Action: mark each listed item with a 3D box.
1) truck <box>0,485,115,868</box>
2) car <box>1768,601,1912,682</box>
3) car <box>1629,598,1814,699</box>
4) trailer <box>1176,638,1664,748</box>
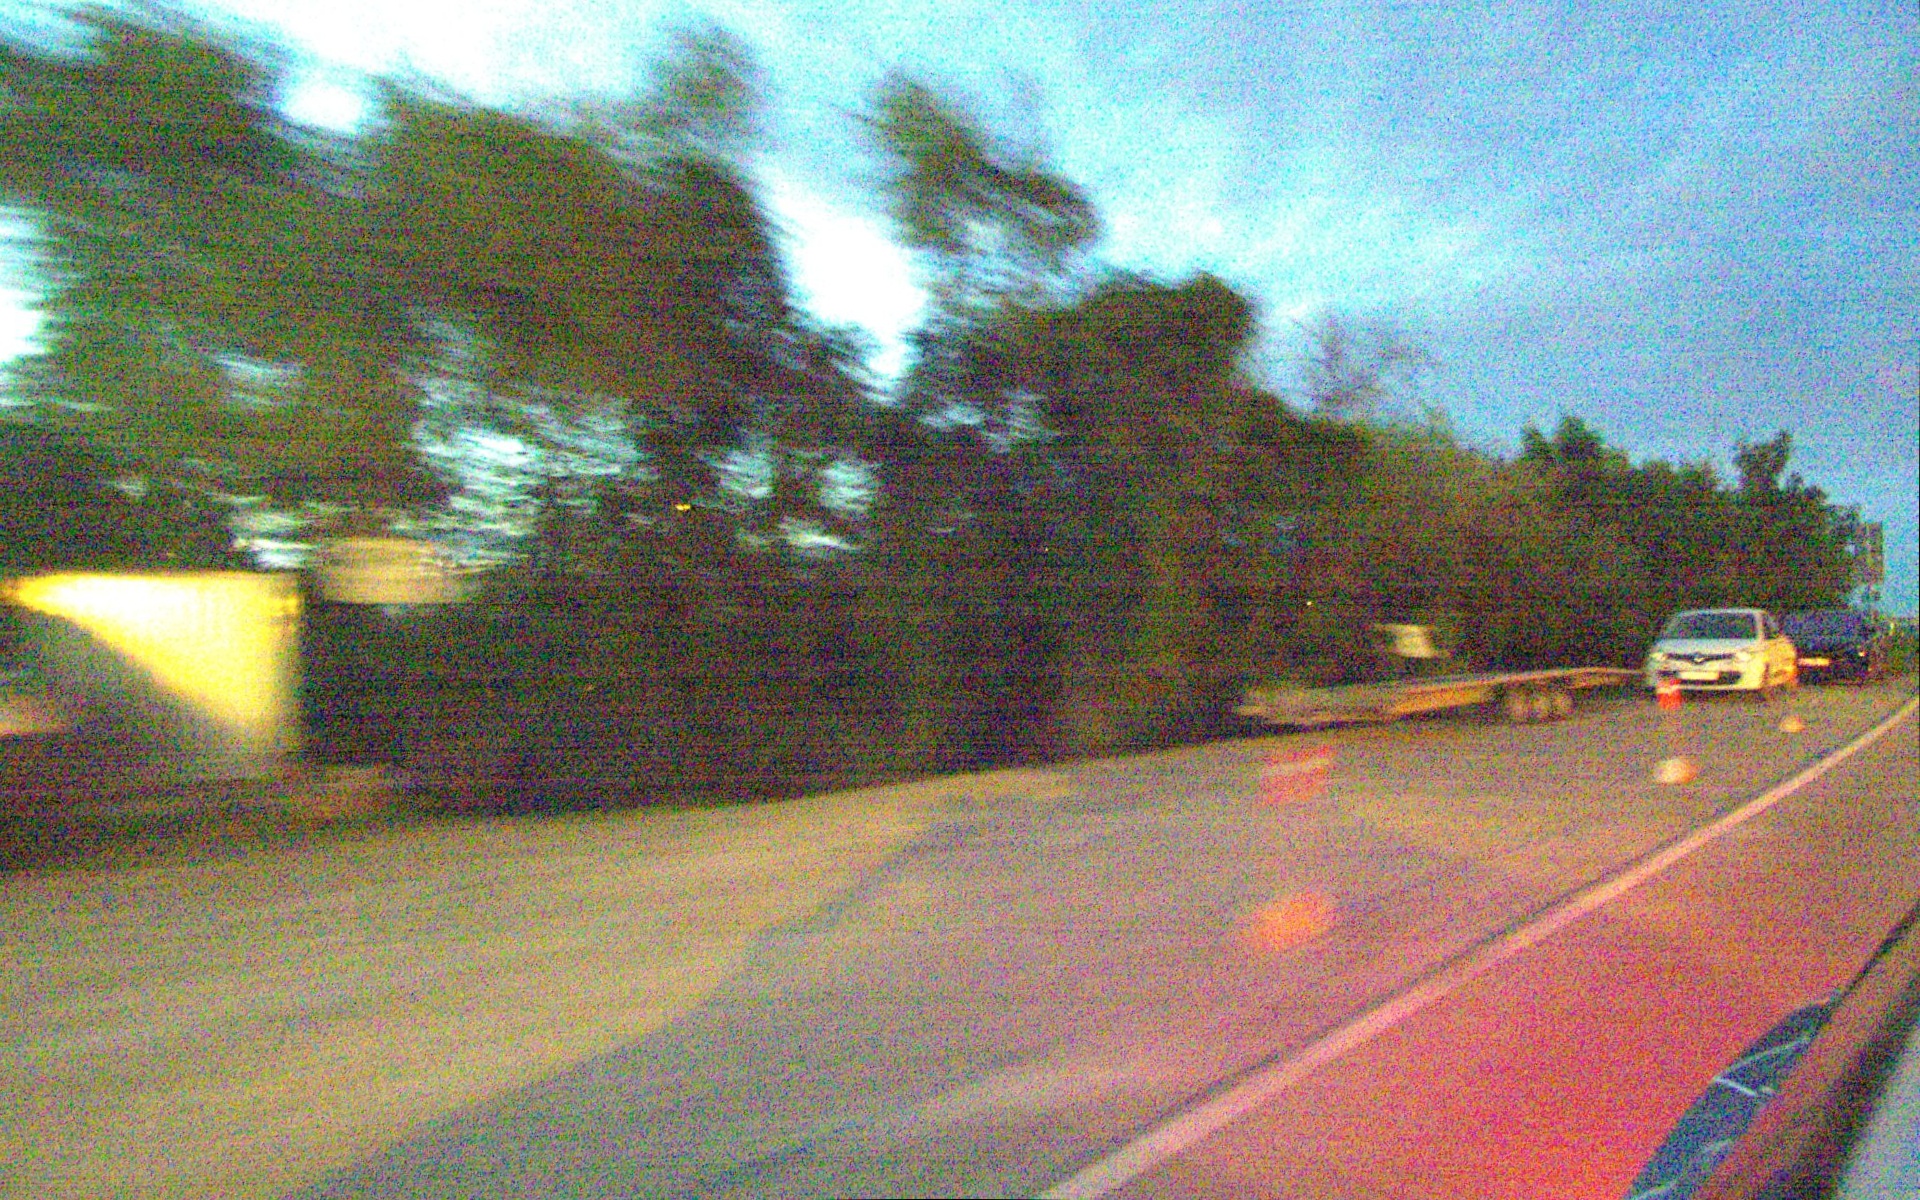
[{"bbox_3d":[-9.032,0.479,4.833,7.610,2.313,2.380,0,-2,-42],"label":"truck"},{"bbox_3d":[19.099,0.879,21.901,4.255,1.572,1.994,2,-3,-45],"label":"car"},{"bbox_3d":[13.525,0.800,17.896,3.932,1.572,1.936,1,-2,-43],"label":"car"},{"bbox_3d":[6.890,1.102,14.044,9.442,0.979,2.177,1,-3,-39],"label":"trailer"}]
